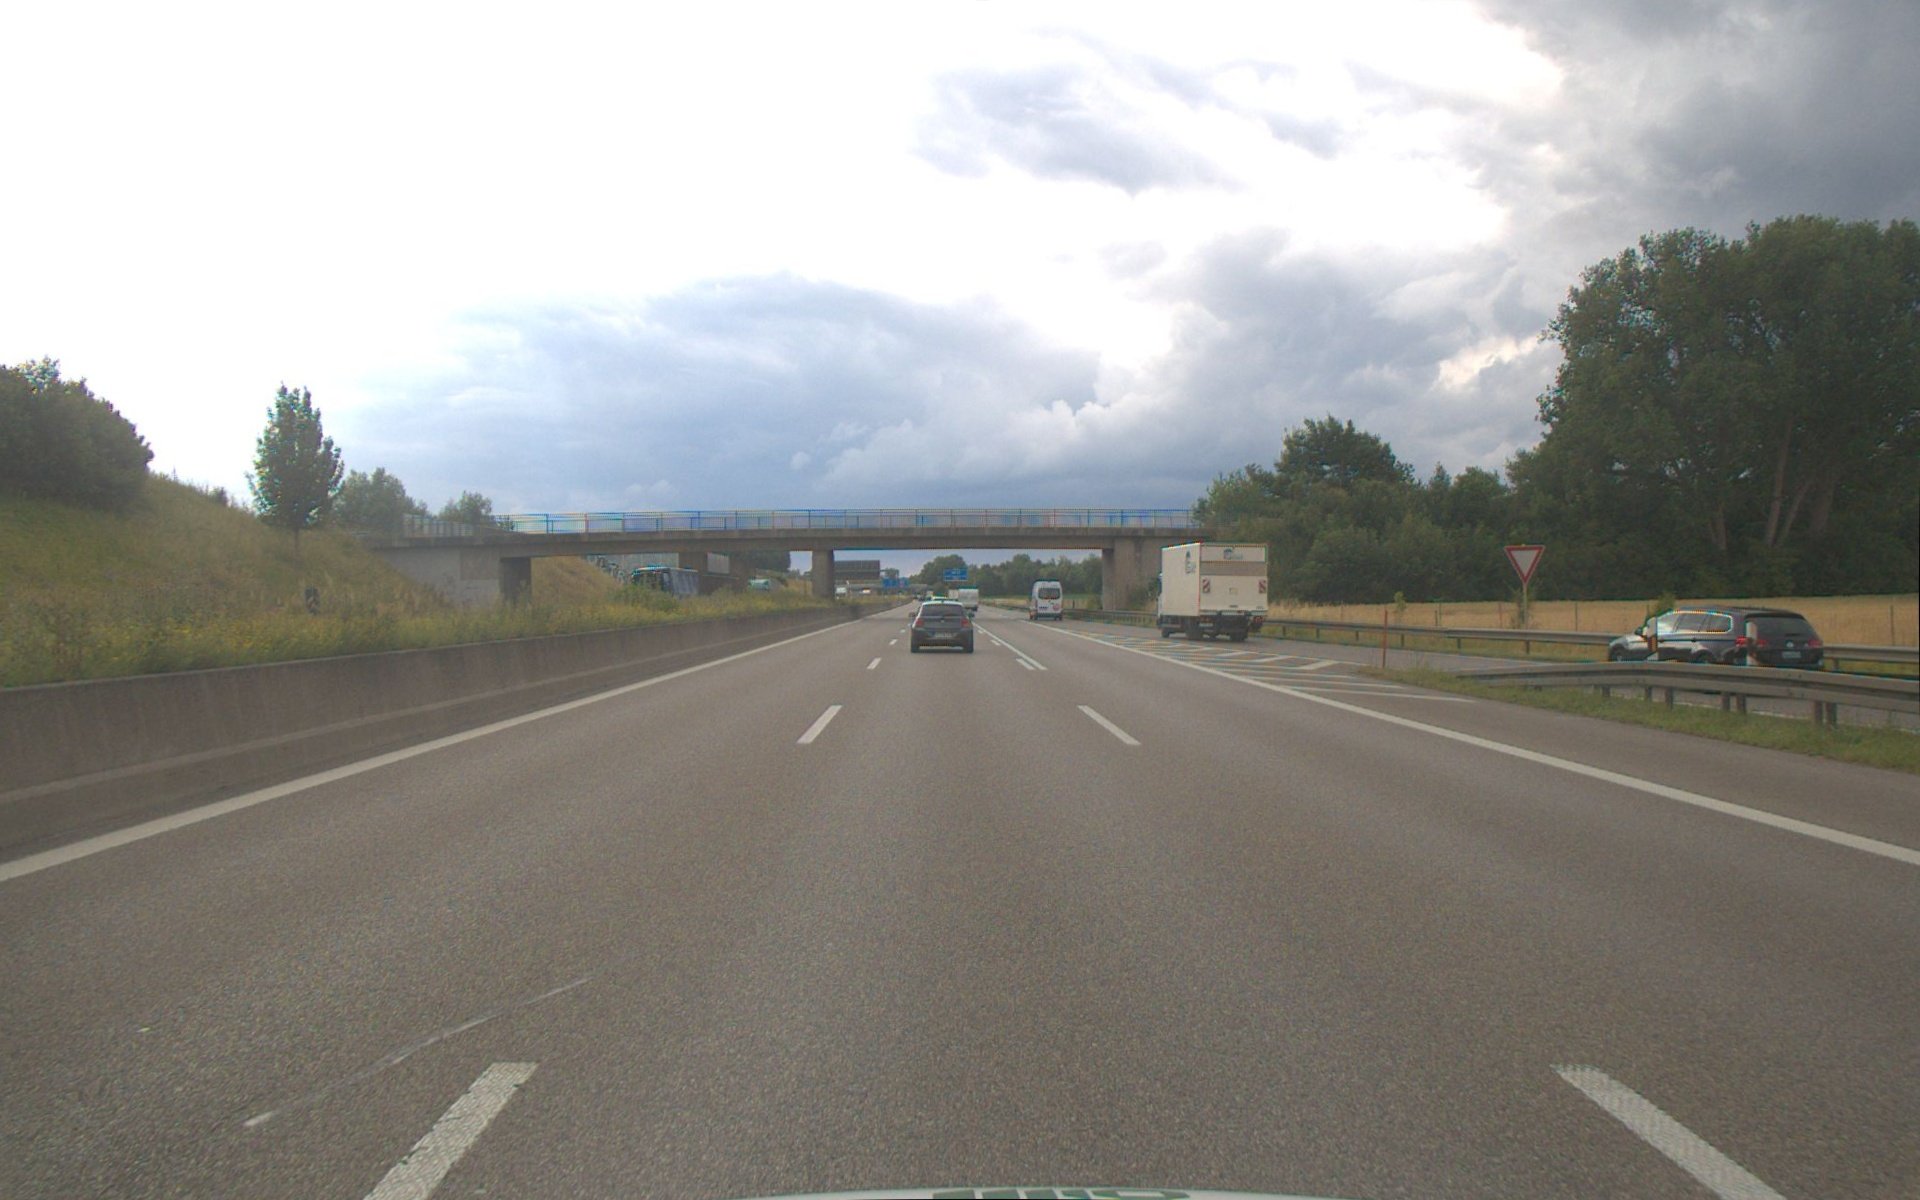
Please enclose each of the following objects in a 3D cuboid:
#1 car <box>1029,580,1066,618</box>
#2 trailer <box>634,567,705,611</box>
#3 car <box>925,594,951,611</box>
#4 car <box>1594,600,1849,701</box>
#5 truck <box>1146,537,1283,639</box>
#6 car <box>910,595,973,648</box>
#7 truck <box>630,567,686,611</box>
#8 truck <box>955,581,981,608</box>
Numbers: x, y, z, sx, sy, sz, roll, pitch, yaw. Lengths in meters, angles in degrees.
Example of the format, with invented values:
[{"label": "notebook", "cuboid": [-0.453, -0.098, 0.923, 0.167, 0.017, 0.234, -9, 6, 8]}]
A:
[{"label": "car", "cuboid": [6.103, -0.096, 116.425, 2.176, 2.613, 6.255, 0, 0, -1]}, {"label": "trailer", "cuboid": [-21.427, -0.758, 122.832, 2.861, 3.007, 13.968, 1, 0, -1]}, {"label": "car", "cuboid": [-1.773, 0.192, 131.106, 1.953, 1.321, 3.999, -1, 0, -2]}, {"label": "car", "cuboid": [13.265, 0.819, 29.210, 1.880, 1.577, 4.918, -1, 0, -5]}, {"label": "truck", "cuboid": [9.500, -0.419, 62.773, 3.044, 3.531, 8.881, 1, 0, -5]}, {"label": "car", "cuboid": [-0.535, 0.590, 46.887, 1.708, 1.413, 3.999, 1, 0, -1]}, {"label": "truck", "cuboid": [-21.392, -0.777, 117.336, 2.851, 2.998, 6.114, 1, 0, -1]}, {"label": "truck", "cuboid": [0.918, -0.635, 194.580, 2.655, 3.016, 12.443, 1, 0, -1]}]
